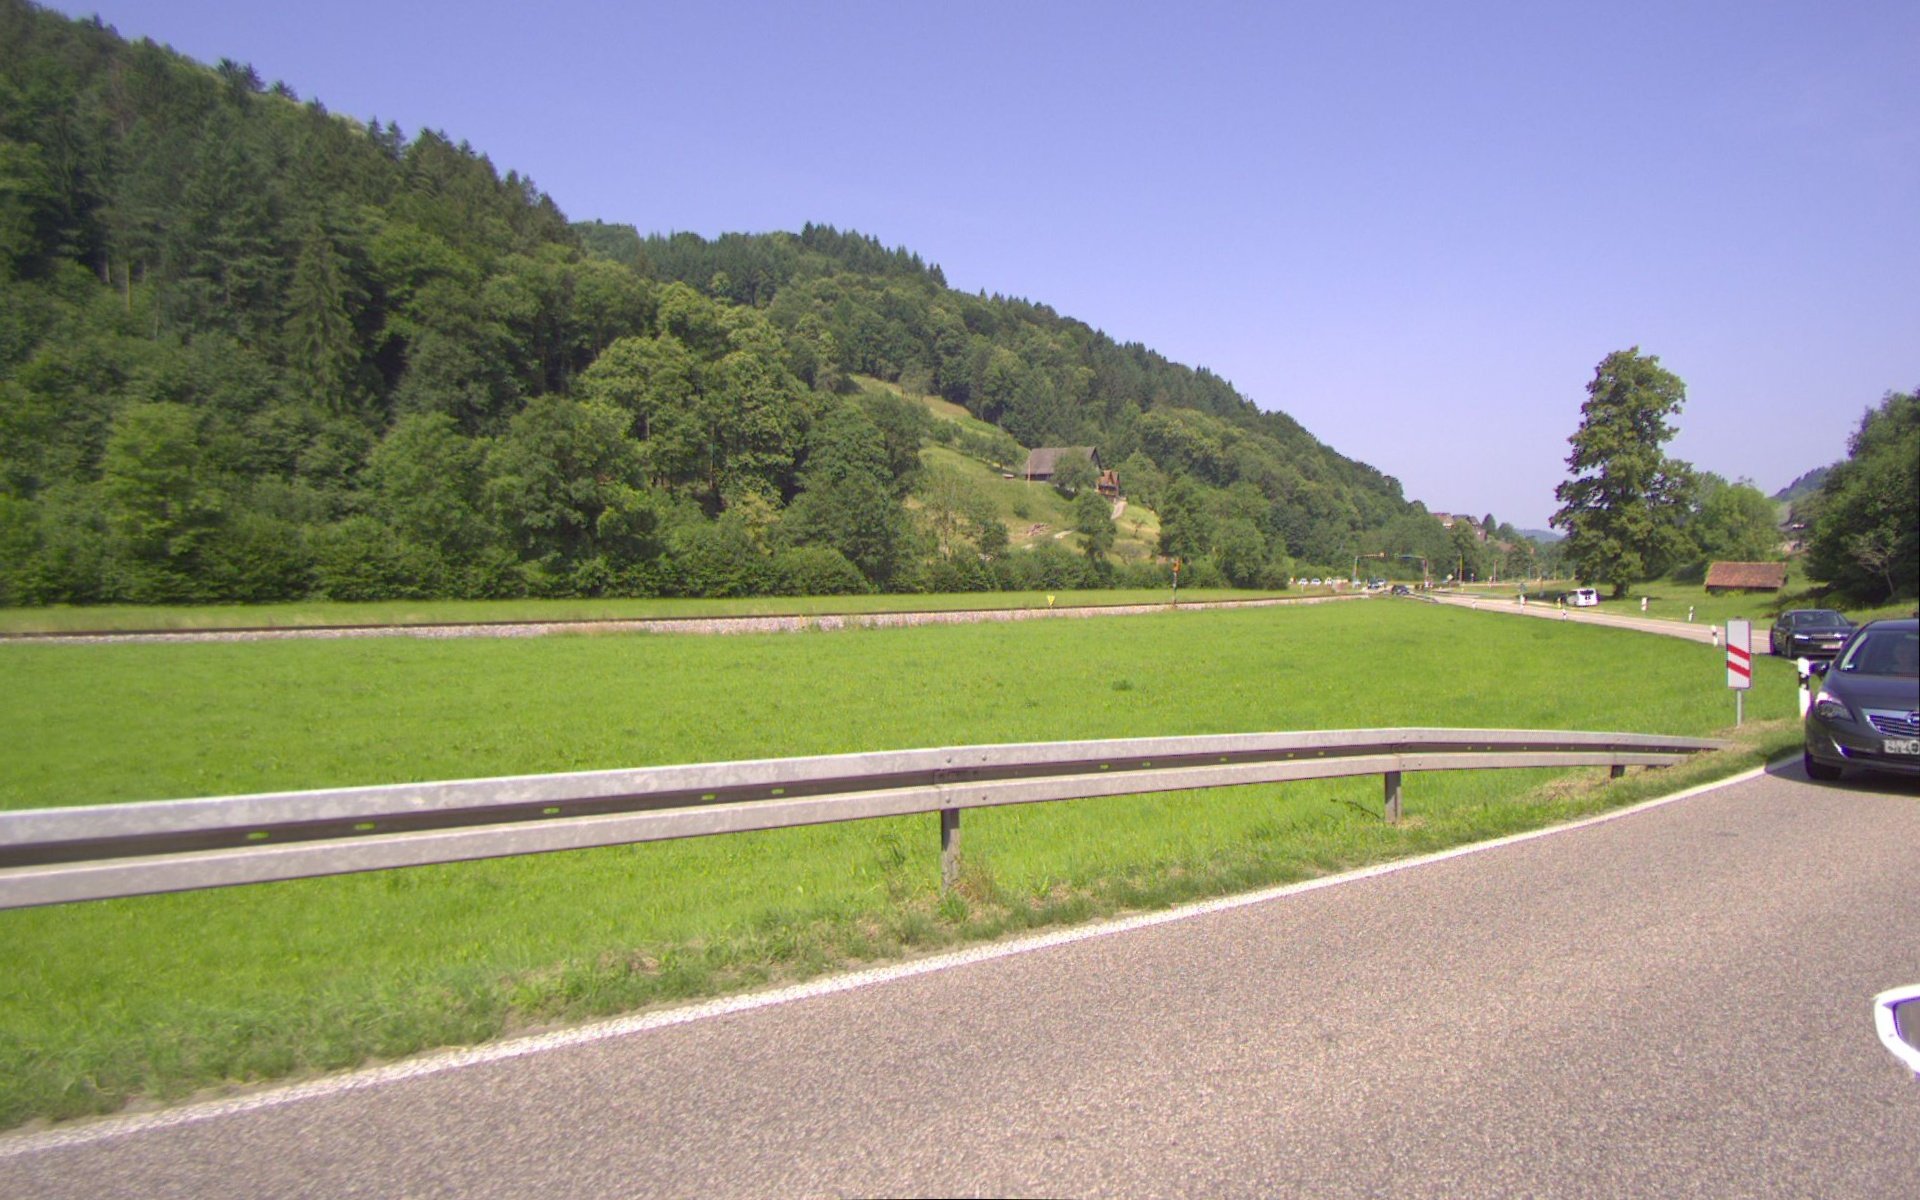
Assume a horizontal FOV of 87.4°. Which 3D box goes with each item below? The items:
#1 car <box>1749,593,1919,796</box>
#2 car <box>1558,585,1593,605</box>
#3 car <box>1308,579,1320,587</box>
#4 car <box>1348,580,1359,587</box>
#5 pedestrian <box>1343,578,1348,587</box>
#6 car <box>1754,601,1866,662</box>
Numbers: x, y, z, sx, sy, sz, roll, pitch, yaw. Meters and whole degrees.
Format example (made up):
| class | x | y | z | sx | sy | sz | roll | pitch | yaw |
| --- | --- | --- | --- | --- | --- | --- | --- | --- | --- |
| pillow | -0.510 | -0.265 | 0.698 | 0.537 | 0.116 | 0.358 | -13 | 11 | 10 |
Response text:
| class | x | y | z | sx | sy | sz | roll | pitch | yaw |
| --- | --- | --- | --- | --- | --- | --- | --- | --- | --- |
| car | 10.081 | 0.839 | 10.377 | 4.852 | 1.763 | 1.935 | 0 | -2 | -38 |
| car | 67.085 | -0.561 | 109.604 | 1.966 | 1.873 | 4.869 | -5 | 0 | 17 |
| car | 76.355 | -3.748 | 216.694 | 1.963 | 1.663 | 4.895 | 0 | 2 | 27 |
| car | 83.150 | -3.465 | 212.154 | 1.795 | 1.521 | 4.277 | 0 | 2 | 17 |
| pedestrian | 79.926 | -3.566 | 208.095 | 0.761 | 1.884 | 0.644 | -1 | 2 | -29 |
| car | 28.721 | 1.029 | 34.095 | 1.851 | 1.606 | 4.586 | -10 | -4 | 29 |
